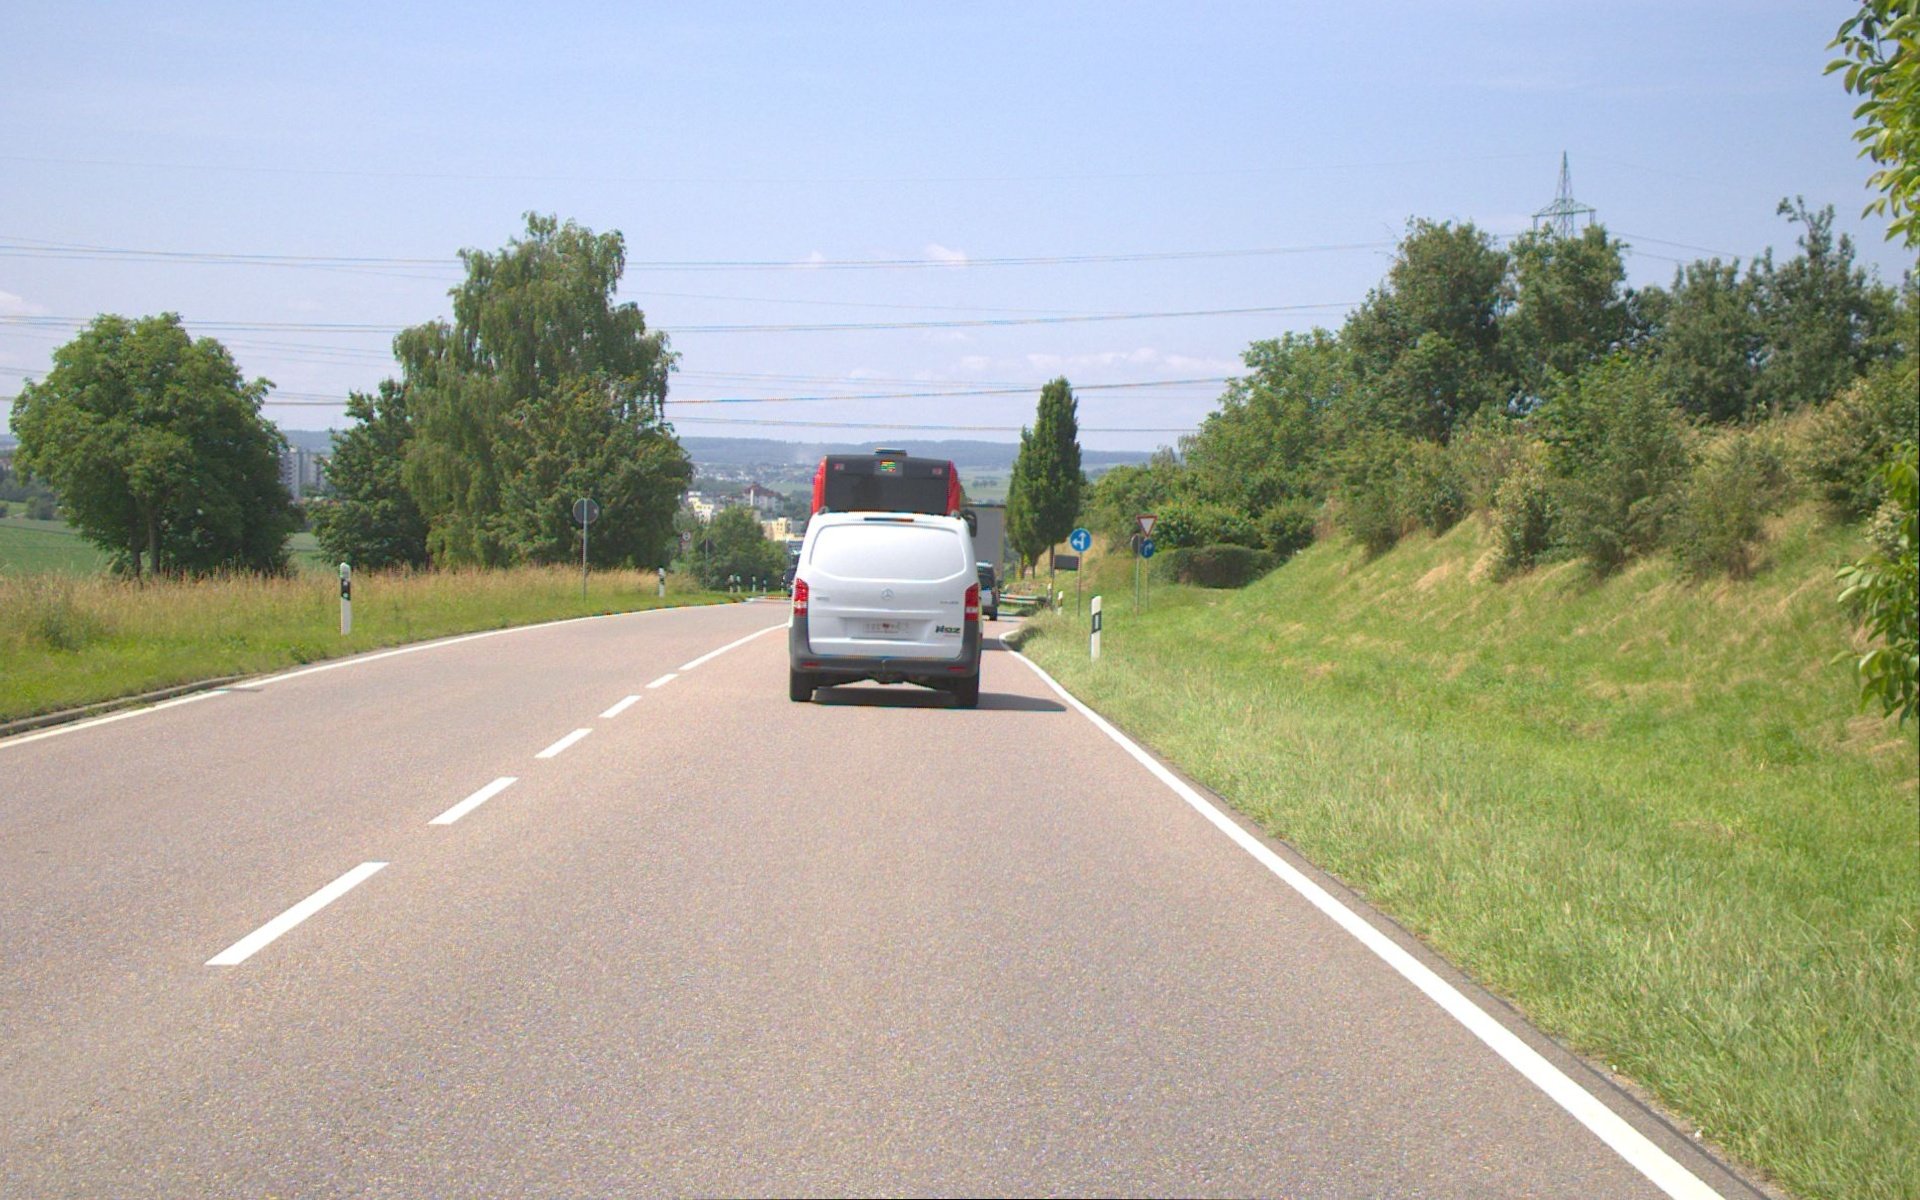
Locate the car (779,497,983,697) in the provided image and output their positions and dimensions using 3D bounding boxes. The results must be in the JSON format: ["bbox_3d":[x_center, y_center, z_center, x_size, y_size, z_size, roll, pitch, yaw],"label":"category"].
[{"bbox_3d":[-0.771,-0.057,34.825,1.923,1.883,4.000,1,1,0],"label":"car"}]

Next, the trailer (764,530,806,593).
[{"bbox_3d":[-12.086,-2.631,238.280,2.592,4.129,13.742,2,0,-2],"label":"trailer"}]

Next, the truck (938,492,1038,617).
[{"bbox_3d":[0.971,-1.714,130.417,3.488,4.408,14.903,1,1,0],"label":"truck"}]

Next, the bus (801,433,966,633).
[{"bbox_3d":[-1.339,-1.371,64.177,2.747,3.342,13.223,0,2,-1],"label":"bus"}]

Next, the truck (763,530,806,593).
[{"bbox_3d":[-11.741,-2.574,230.245,2.585,4.090,5.442,2,0,-2],"label":"truck"}]
